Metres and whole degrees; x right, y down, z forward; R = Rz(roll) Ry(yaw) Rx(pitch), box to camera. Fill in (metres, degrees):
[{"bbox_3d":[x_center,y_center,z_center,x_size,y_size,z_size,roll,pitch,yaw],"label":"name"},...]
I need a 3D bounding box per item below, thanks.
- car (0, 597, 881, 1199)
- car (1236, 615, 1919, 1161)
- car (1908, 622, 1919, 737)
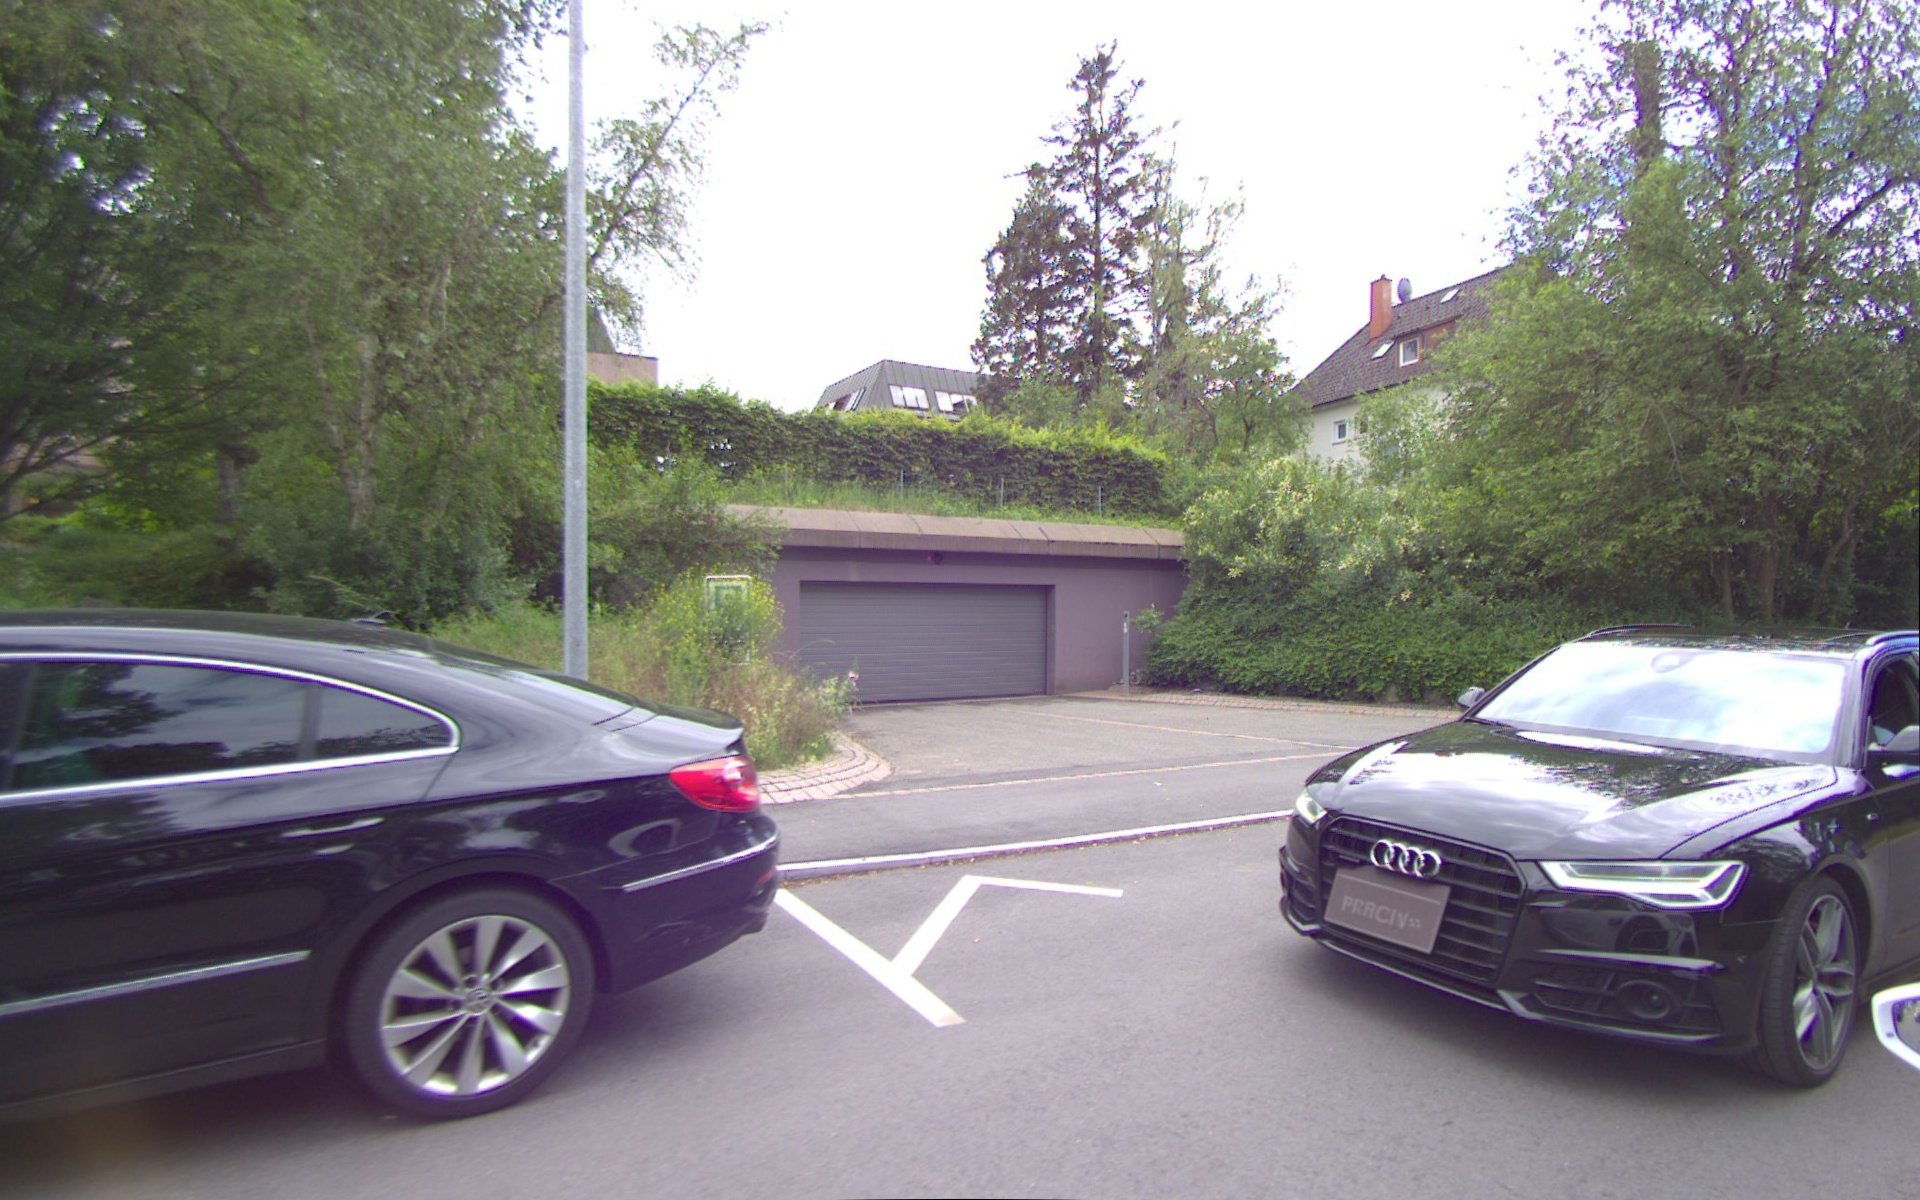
[{"bbox_3d":[-2.880,0.717,2.910,5.047,1.451,1.769,1,0,-31],"label":"car"},{"bbox_3d":[3.507,0.818,4.629,4.438,1.445,1.771,1,0,-31],"label":"car"},{"bbox_3d":[14.285,1.032,13.145,3.920,1.469,1.616,1,-1,-29],"label":"car"}]
